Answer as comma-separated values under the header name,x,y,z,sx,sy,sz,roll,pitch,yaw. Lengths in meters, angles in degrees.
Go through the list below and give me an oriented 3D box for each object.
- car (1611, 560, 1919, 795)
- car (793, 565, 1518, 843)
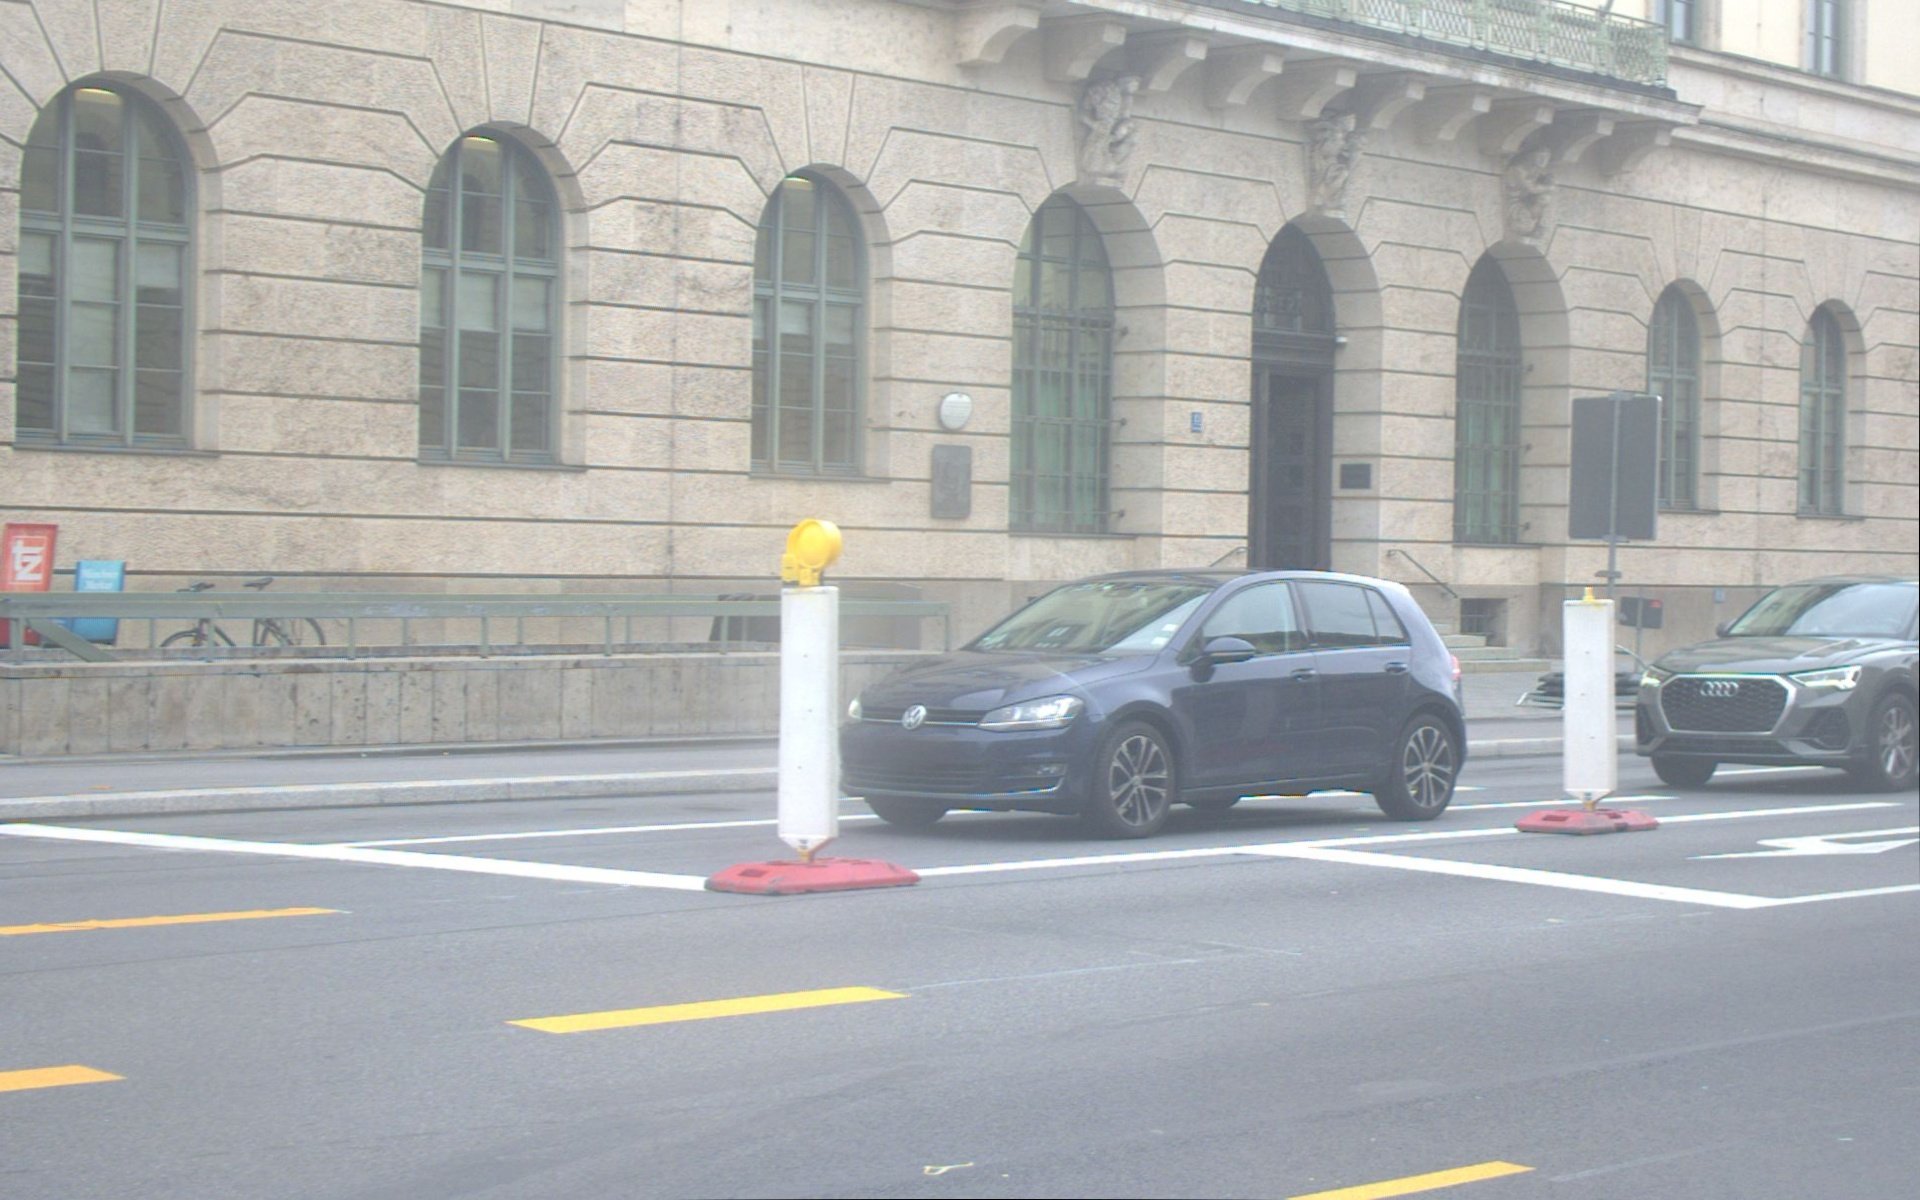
name,x,y,z,sx,sy,sz,roll,pitch,yaw
car,6.761,0.545,25.144,1.790,1.562,4.564,0,-1,43
car,1.197,0.563,19.260,1.748,1.384,4.229,0,-1,43
